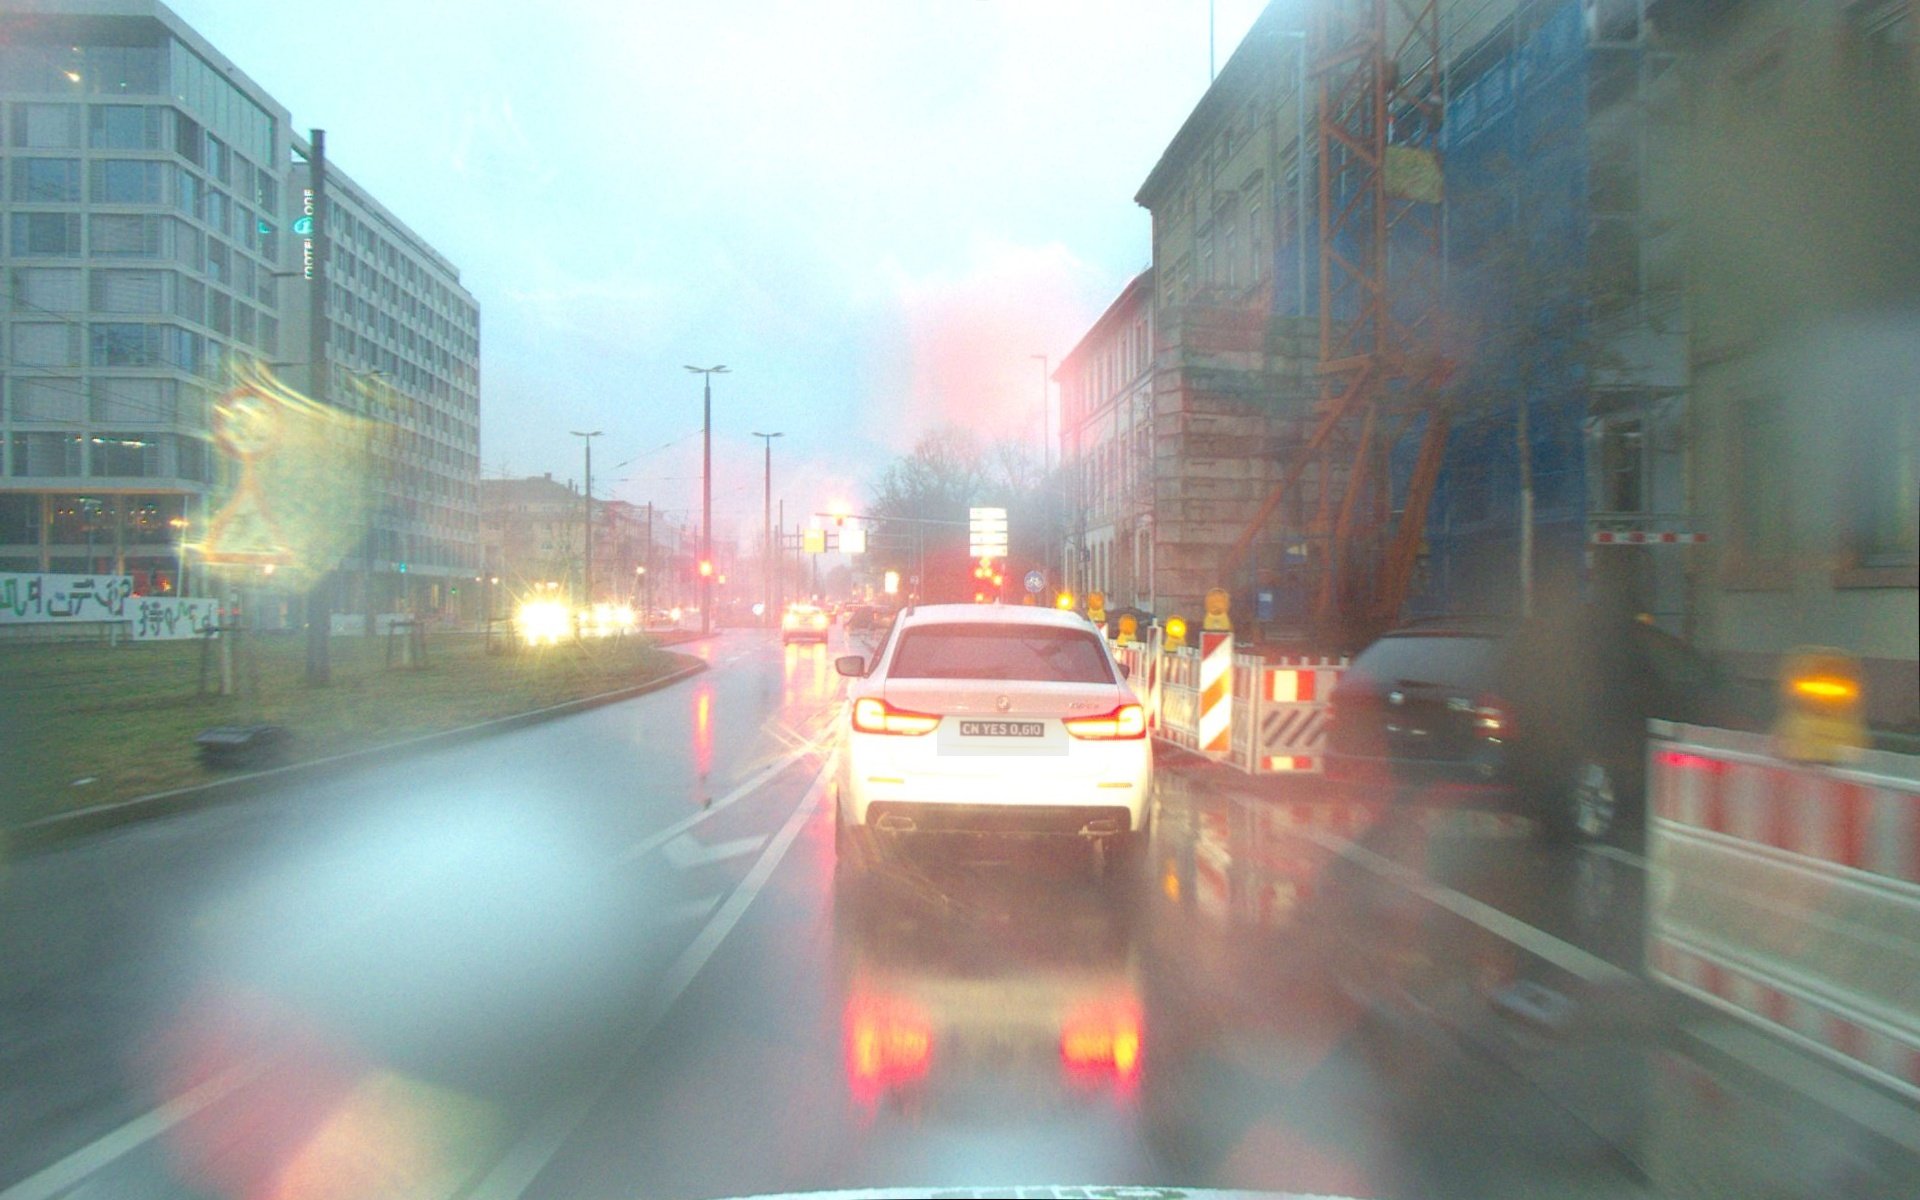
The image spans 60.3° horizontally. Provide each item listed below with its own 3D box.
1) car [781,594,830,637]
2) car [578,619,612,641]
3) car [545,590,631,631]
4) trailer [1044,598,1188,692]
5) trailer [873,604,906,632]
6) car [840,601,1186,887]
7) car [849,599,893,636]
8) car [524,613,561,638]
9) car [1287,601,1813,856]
[{"bbox_3d":[-6.222,0.623,66.874,1.863,1.670,3.997,0,0,-4],"label":"car"},{"bbox_3d":[-28.254,2.302,128.151,1.820,1.668,4.031,0,0,-1],"label":"car"},{"bbox_3d":[-18.700,0.527,83.103,3.932,2.010,1.986,0,0,-23],"label":"car"},{"bbox_3d":[2.690,0.731,29.576,1.799,1.516,4.844,-1,0,-4],"label":"trailer"},{"bbox_3d":[-4.419,1.124,103.542,1.799,1.672,3.995,0,0,-6],"label":"trailer"},{"bbox_3d":[0.112,0.763,11.209,1.815,1.491,4.942,0,0,-4],"label":"car"},{"bbox_3d":[-3.929,0.756,73.468,1.804,1.546,3.999,0,0,-1],"label":"car"},{"bbox_3d":[-26.194,1.578,103.765,1.716,1.518,3.517,0,0,-23],"label":"car"},{"bbox_3d":[4.421,0.797,12.132,4.056,1.544,1.880,0,0,-40],"label":"car"}]
